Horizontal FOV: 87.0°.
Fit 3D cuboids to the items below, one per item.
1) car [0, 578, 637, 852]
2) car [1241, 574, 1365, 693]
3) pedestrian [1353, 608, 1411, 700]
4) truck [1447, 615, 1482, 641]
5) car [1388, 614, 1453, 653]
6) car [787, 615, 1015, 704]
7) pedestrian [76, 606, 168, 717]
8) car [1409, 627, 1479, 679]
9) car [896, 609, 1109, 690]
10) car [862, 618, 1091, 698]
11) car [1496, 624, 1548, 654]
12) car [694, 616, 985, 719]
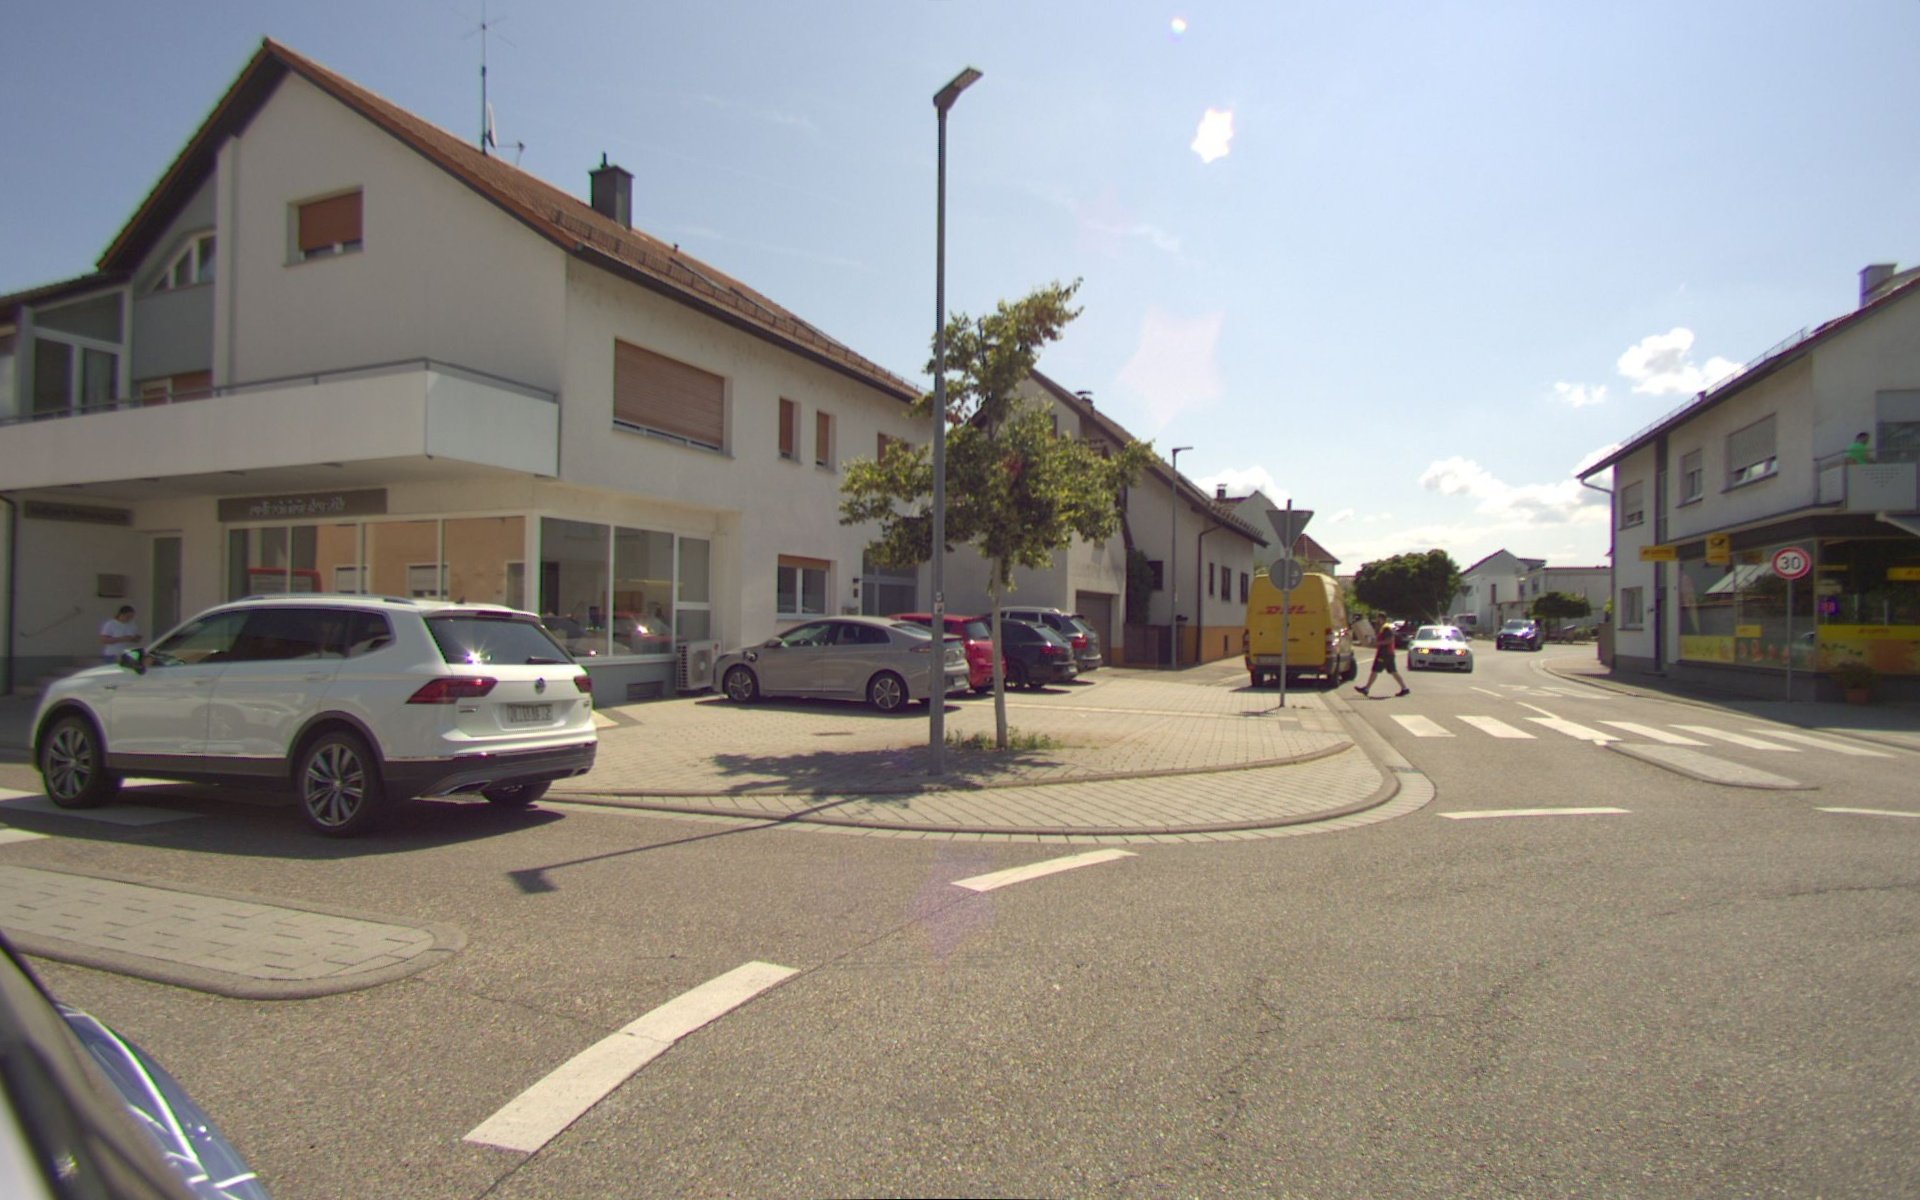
[{"bbox_3d":[-5.057,0.782,8.014,4.506,1.723,1.860,0,-4,19],"label":"car"},{"bbox_3d":[8.600,0.819,25.027,2.102,2.592,5.631,-1,-2,27],"label":"car"},{"bbox_3d":[8.637,1.097,20.755,1.016,1.839,0.777,-2,-2,22],"label":"pedestrian"},{"bbox_3d":[49.793,2.786,99.973,2.229,2.469,5.833,0,-1,18],"label":"truck"},{"bbox_3d":[23.842,1.699,52.331,1.875,1.847,3.916,0,0,44],"label":"car"},{"bbox_3d":[-1.099,1.057,19.079,3.937,1.488,1.740,1,-1,22],"label":"car"},{"bbox_3d":[-12.731,0.907,15.382,0.951,1.595,0.751,0,1,25],"label":"pedestrian"},{"bbox_3d":[15.582,1.659,32.771,1.869,1.460,4.300,0,0,23],"label":"car"},{"bbox_3d":[1.020,1.123,24.291,4.717,1.752,1.972,1,-1,22],"label":"car"},{"bbox_3d":[0.338,1.145,21.181,4.449,1.461,1.822,1,-1,22],"label":"car"},{"bbox_3d":[30.243,2.071,54.403,1.877,1.361,4.363,1,1,37],"label":"car"},{"bbox_3d":[-1.980,1.028,16.634,4.449,1.461,1.822,1,-1,22],"label":"car"}]
